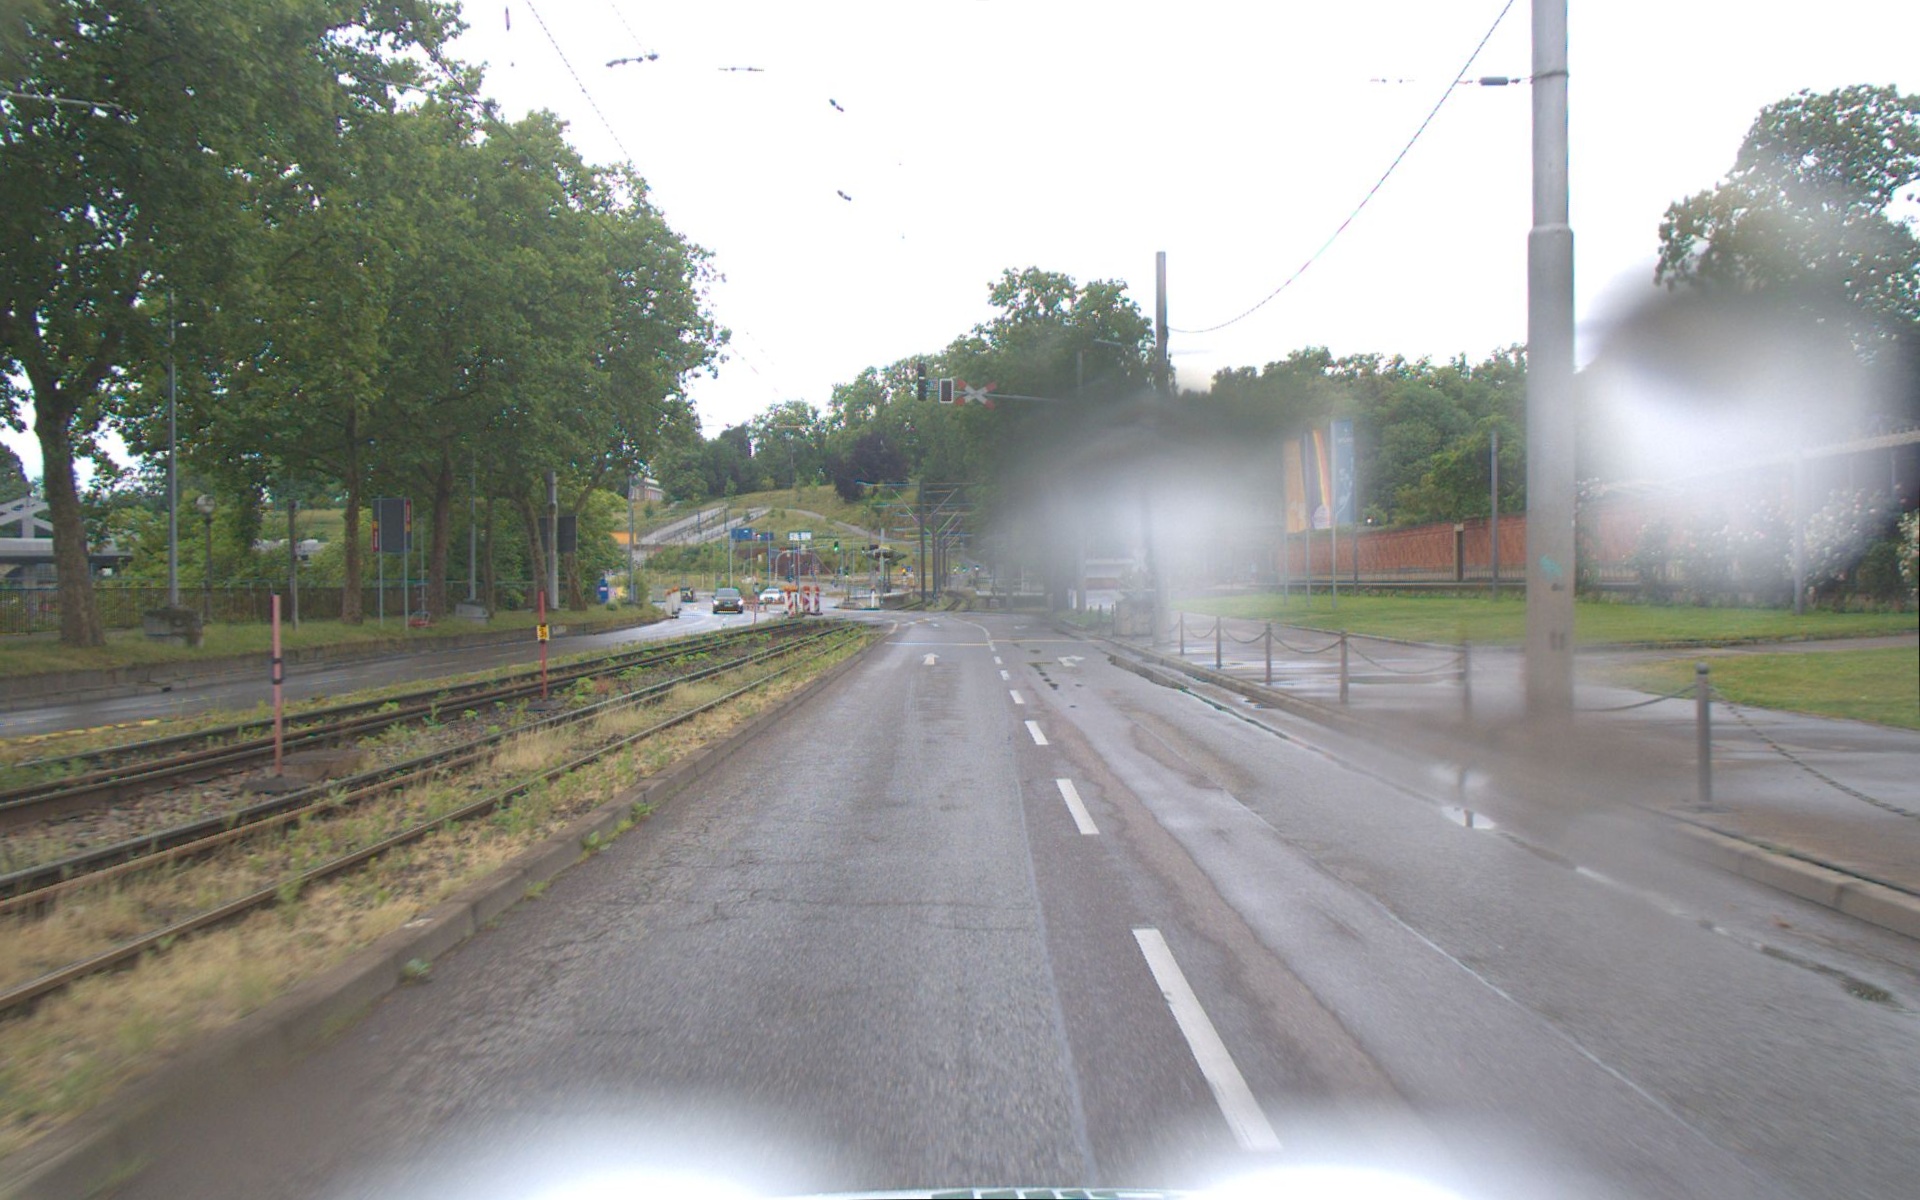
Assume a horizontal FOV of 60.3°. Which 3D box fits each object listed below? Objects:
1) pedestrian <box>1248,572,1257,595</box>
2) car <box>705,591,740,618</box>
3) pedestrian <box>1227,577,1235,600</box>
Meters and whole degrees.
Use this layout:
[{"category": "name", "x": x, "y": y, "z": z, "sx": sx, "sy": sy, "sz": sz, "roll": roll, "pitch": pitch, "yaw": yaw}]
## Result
[{"category": "pedestrian", "x": 22.287, "y": -1.242, "z": 126.187, "sx": 0.540, "sy": 1.686, "sz": 0.468, "roll": -1, "pitch": -2, "yaw": 35}, {"category": "car", "x": -14.125, "y": 0.277, "z": 98.333, "sx": 1.716, "sy": 1.455, "sz": 4.546, "roll": -2, "pitch": 0, "yaw": -12}, {"category": "pedestrian", "x": 20.898, "y": -0.914, "z": 127.396, "sx": 0.520, "sy": 1.741, "sz": 0.696, "roll": 1, "pitch": -2, "yaw": 12}]
